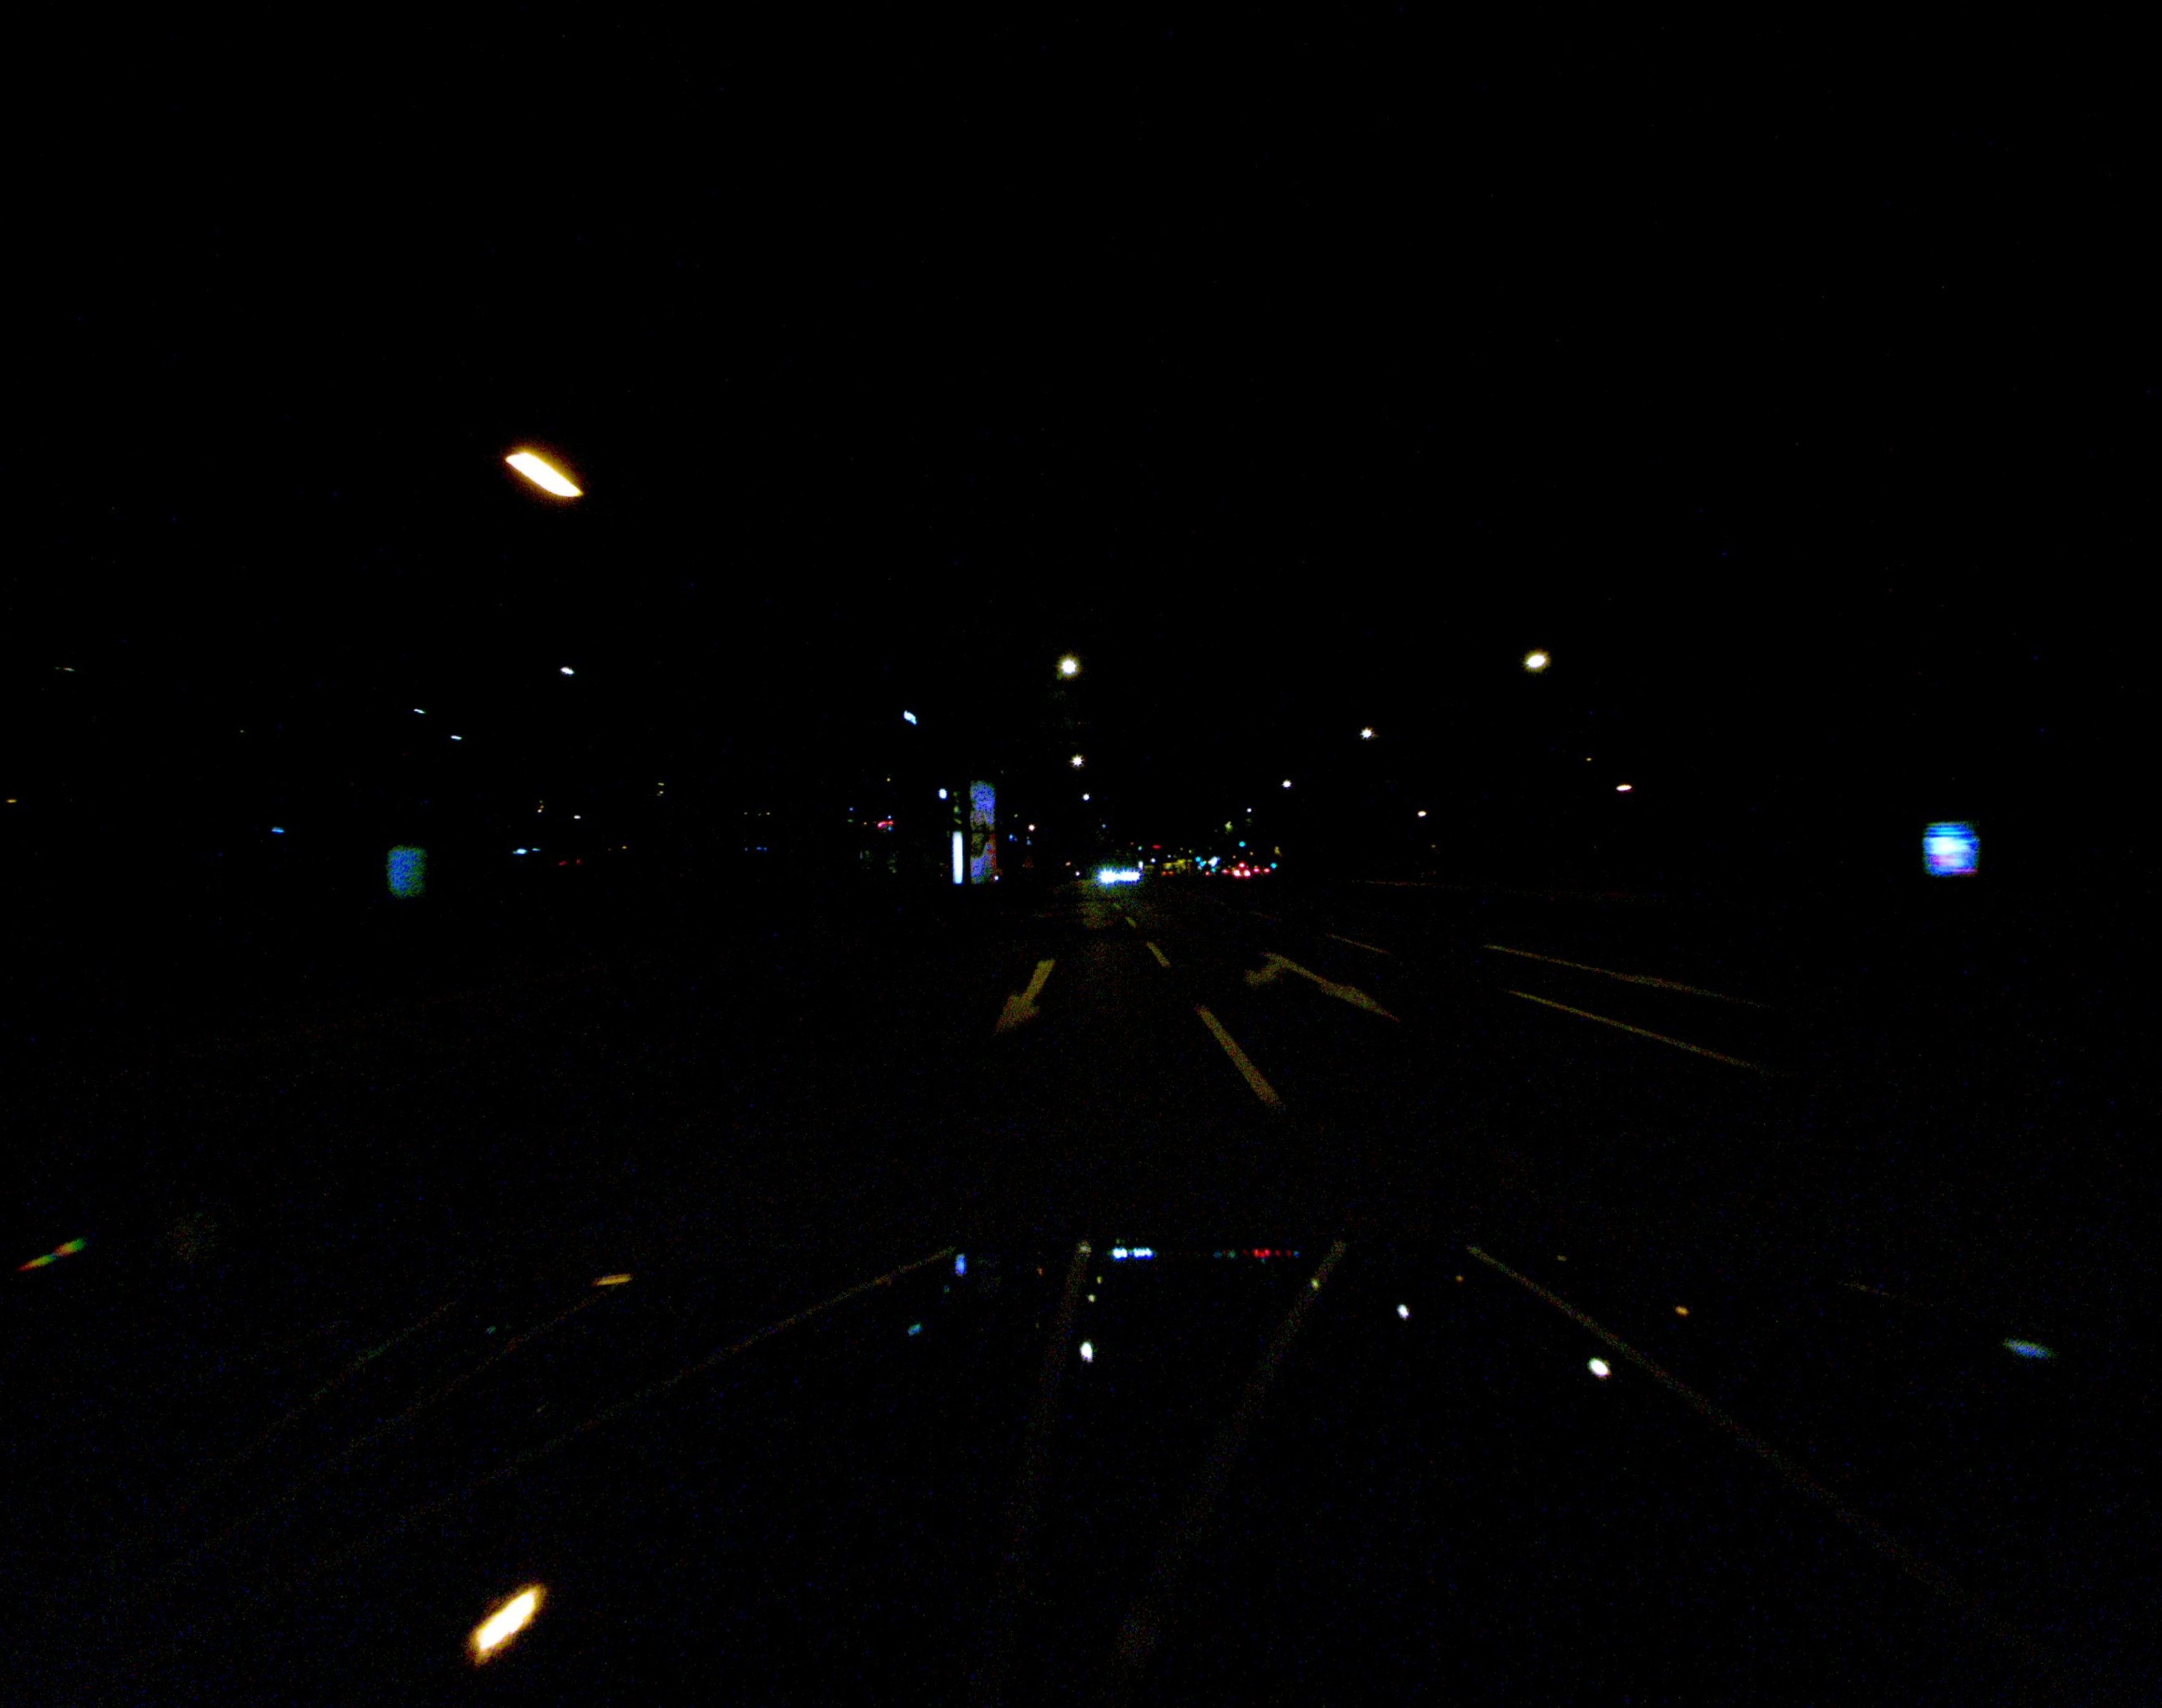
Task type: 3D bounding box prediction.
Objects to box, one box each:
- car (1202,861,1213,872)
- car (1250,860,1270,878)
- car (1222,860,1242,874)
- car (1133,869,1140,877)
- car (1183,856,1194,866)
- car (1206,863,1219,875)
[{"bbox_3d":[25.211,2.469,151.863,1.794,2.002,4.001,-2,1,5],"label":"car"},{"bbox_3d":[22.853,1.884,97.052,2.059,2.002,4.002,-2,1,9],"label":"car"},{"bbox_3d":[20.643,1.759,103.994,1.795,1.728,3.999,-2,1,-1],"label":"car"},{"bbox_3d":[14.401,4.855,196.849,1.794,2.002,4.001,-2,1,6],"label":"car"},{"bbox_3d":[21.417,1.443,151.678,1.794,1.896,4.001,-2,1,5],"label":"car"},{"bbox_3d":[22.564,2.594,130.654,1.794,1.779,4.001,-2,1,5],"label":"car"}]
